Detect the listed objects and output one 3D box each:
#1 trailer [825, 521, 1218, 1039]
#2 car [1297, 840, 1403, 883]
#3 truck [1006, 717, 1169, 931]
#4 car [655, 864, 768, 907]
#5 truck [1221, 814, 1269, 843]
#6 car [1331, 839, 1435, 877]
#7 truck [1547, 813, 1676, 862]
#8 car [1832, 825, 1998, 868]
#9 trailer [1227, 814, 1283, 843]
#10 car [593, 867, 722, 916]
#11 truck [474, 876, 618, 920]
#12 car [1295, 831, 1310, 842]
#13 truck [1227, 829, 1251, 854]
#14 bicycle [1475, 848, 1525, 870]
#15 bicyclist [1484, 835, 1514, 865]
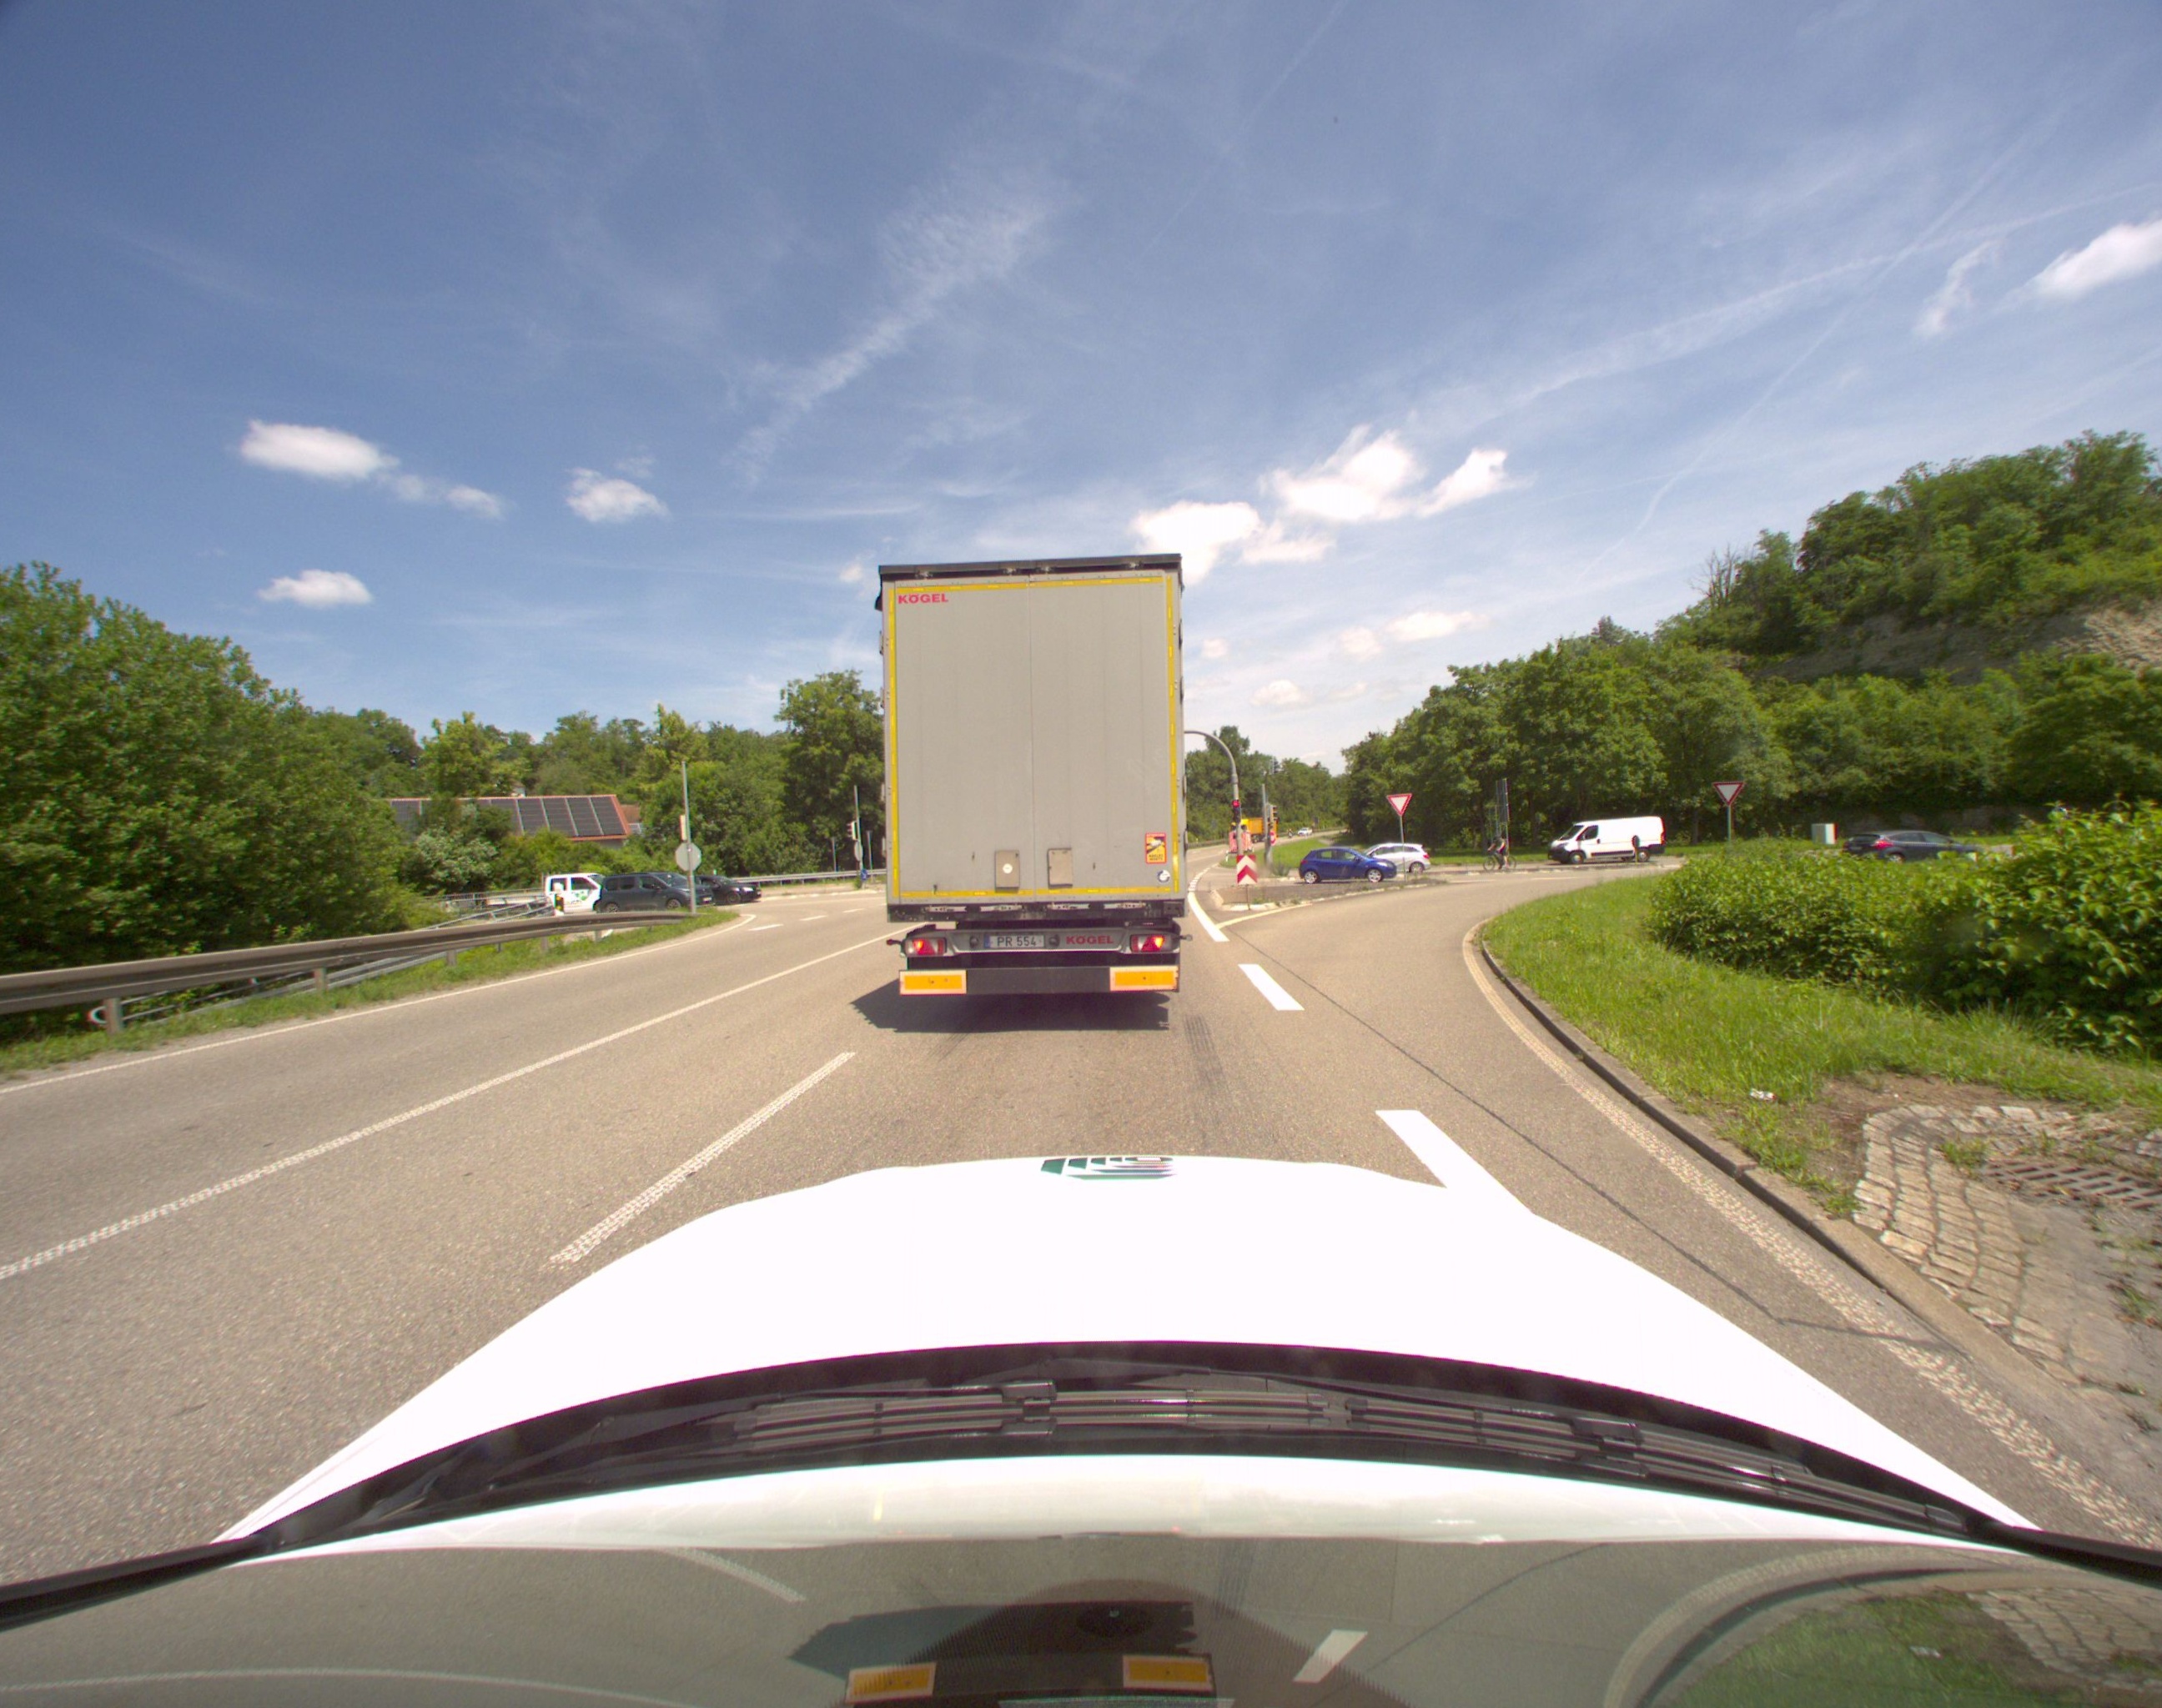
[{"bbox_3d":[-0.080,-0.574,12.774,3.038,4.034,12.571,-2,0,4],"label":"trailer"},{"bbox_3d":[10.961,0.340,33.223,3.809,1.613,1.892,-2,-2,28],"label":"car"},{"bbox_3d":[0.337,-0.563,19.024,3.025,4.034,6.636,-2,0,4],"label":"truck"},{"bbox_3d":[-16.740,1.432,36.976,4.206,1.770,2.006,-2,-1,11],"label":"car"},{"bbox_3d":[26.877,-4.115,132.748,4.966,4.362,11.833,-2,1,24],"label":"truck"},{"bbox_3d":[14.710,0.220,39.920,4.405,1.718,2.003,-1,-2,6],"label":"car"},{"bbox_3d":[26.927,-0.785,41.518,5.106,2.296,2.008,-1,-2,15],"label":"truck"},{"bbox_3d":[31.579,-0.264,30.937,4.230,1.491,1.999,-1,-2,0],"label":"car"},{"bbox_3d":[30.358,-4.365,140.653,4.966,4.362,20.958,-2,1,24],"label":"trailer"},{"bbox_3d":[-17.039,1.490,32.846,4.206,1.770,2.006,-2,-1,11],"label":"car"},{"bbox_3d":[-23.575,1.925,36.087,4.877,1.791,2.036,0,-2,-11],"label":"truck"},{"bbox_3d":[43.988,-3.585,161.920,1.975,2.013,4.025,-2,2,28],"label":"car"},{"bbox_3d":[19.309,-1.478,99.203,2.476,2.728,6.053,-1,-2,14],"label":"truck"},{"bbox_3d":[20.258,0.249,39.405,1.983,0.995,0.797,-1,-2,-1],"label":"bicycle"},{"bbox_3d":[20.188,-0.183,39.392,1.002,1.448,0.795,-1,-2,-1],"label":"bicyclist"}]
